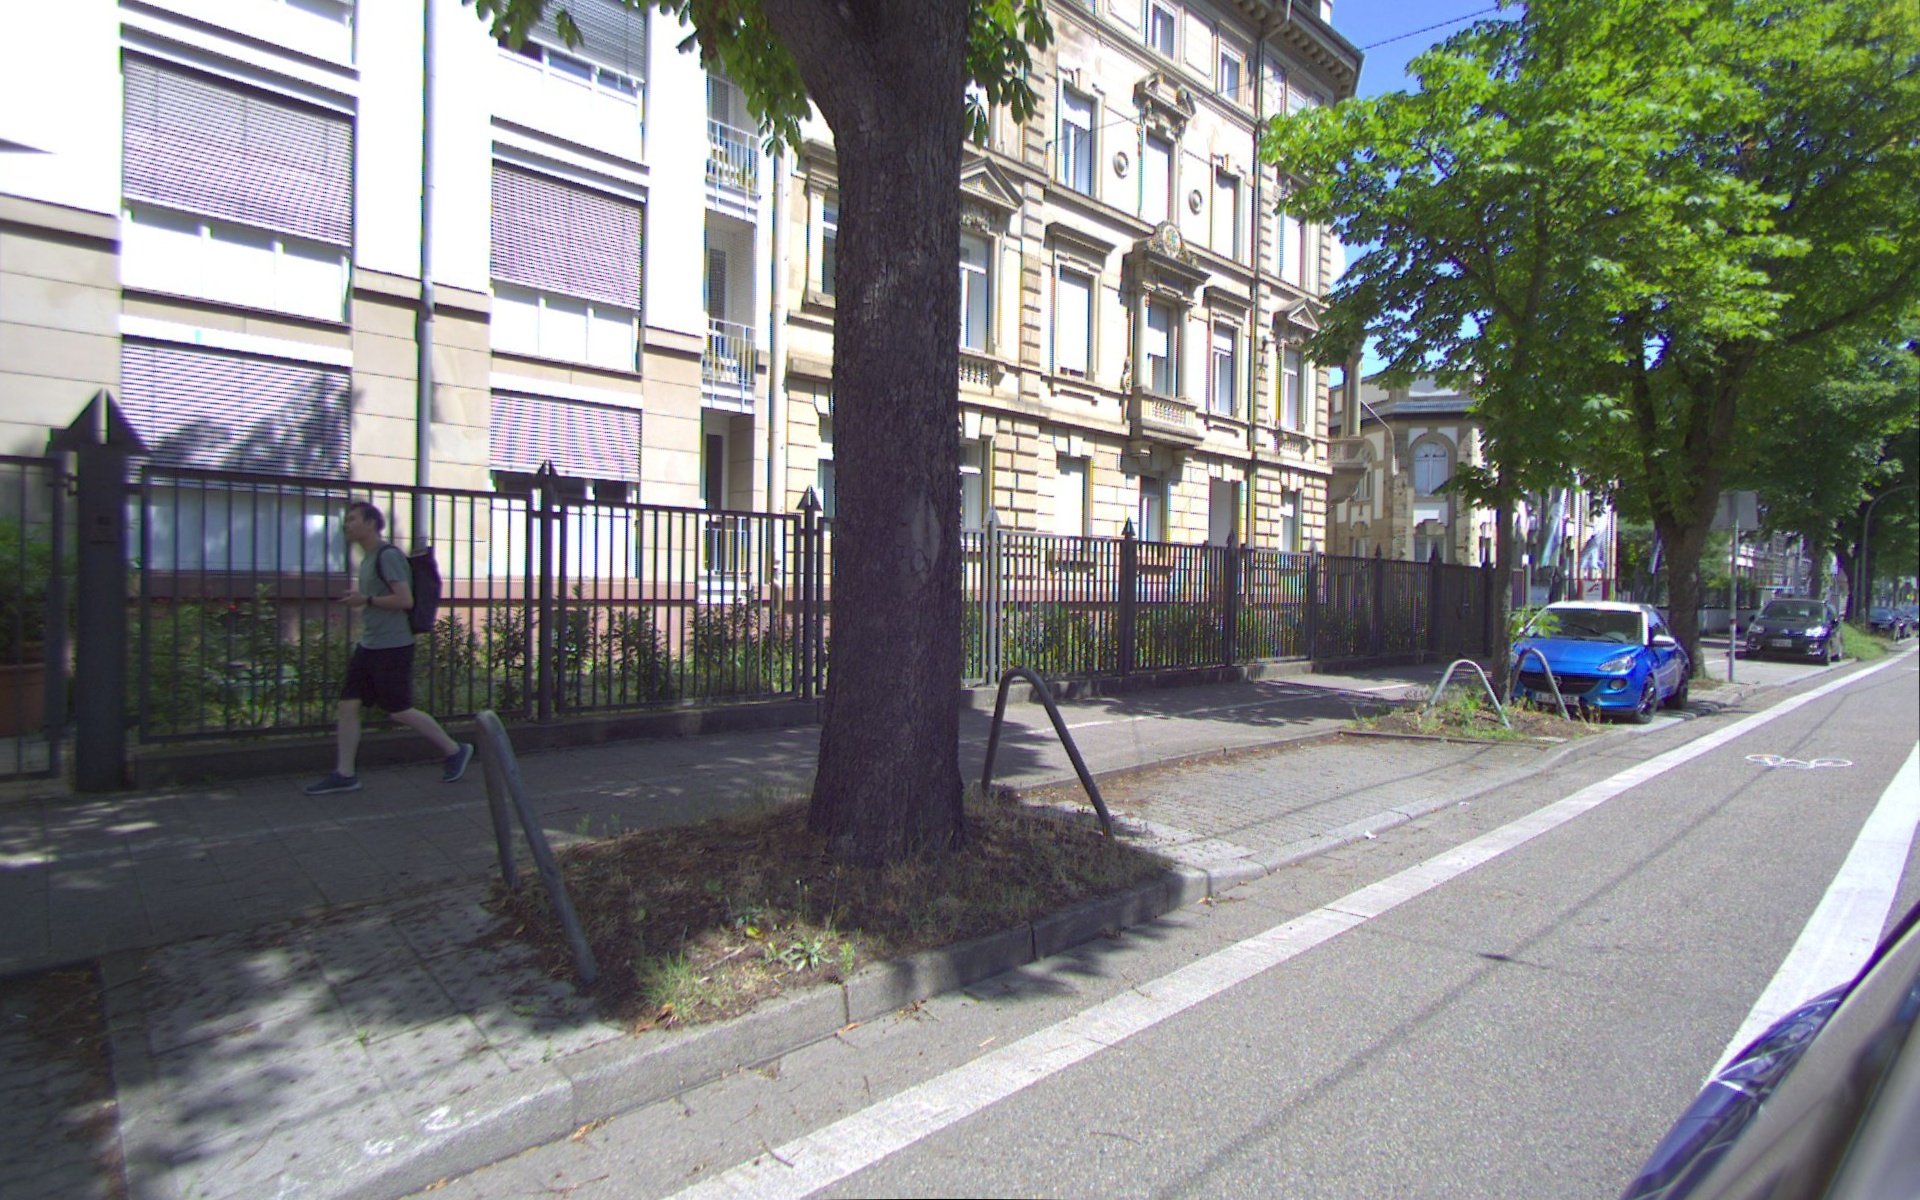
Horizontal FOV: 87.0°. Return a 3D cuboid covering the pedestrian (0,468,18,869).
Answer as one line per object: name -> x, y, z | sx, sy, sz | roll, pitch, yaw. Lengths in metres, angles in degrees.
pedestrian -> -4.864, 0.295, 4.442 | 1.035, 1.783, 0.788 | 1, 1, -45

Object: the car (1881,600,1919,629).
car -> 50.584, 0.759, 54.126 | 3.933, 1.420, 1.624 | 0, 3, -44

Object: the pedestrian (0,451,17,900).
pedestrian -> -4.398, 0.294, 4.008 | 0.931, 1.799, 0.706 | 1, 1, -42

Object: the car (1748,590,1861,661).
car -> 22.176, 0.615, 26.514 | 4.015, 1.636, 1.732 | 0, 3, -43

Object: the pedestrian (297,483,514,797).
pedestrian -> -3.545, 0.224, 6.489 | 1.066, 1.820, 0.685 | 1, 1, -43

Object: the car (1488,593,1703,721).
car -> 8.647, 0.665, 13.666 | 3.416, 1.471, 1.692 | 0, 1, -44

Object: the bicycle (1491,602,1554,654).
bicycle -> 12.626, 0.608, 22.684 | 1.946, 1.084, 0.608 | 0, 1, -42

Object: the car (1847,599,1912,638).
car -> 37.701, 0.722, 41.464 | 3.759, 1.420, 1.624 | 0, 3, -44
